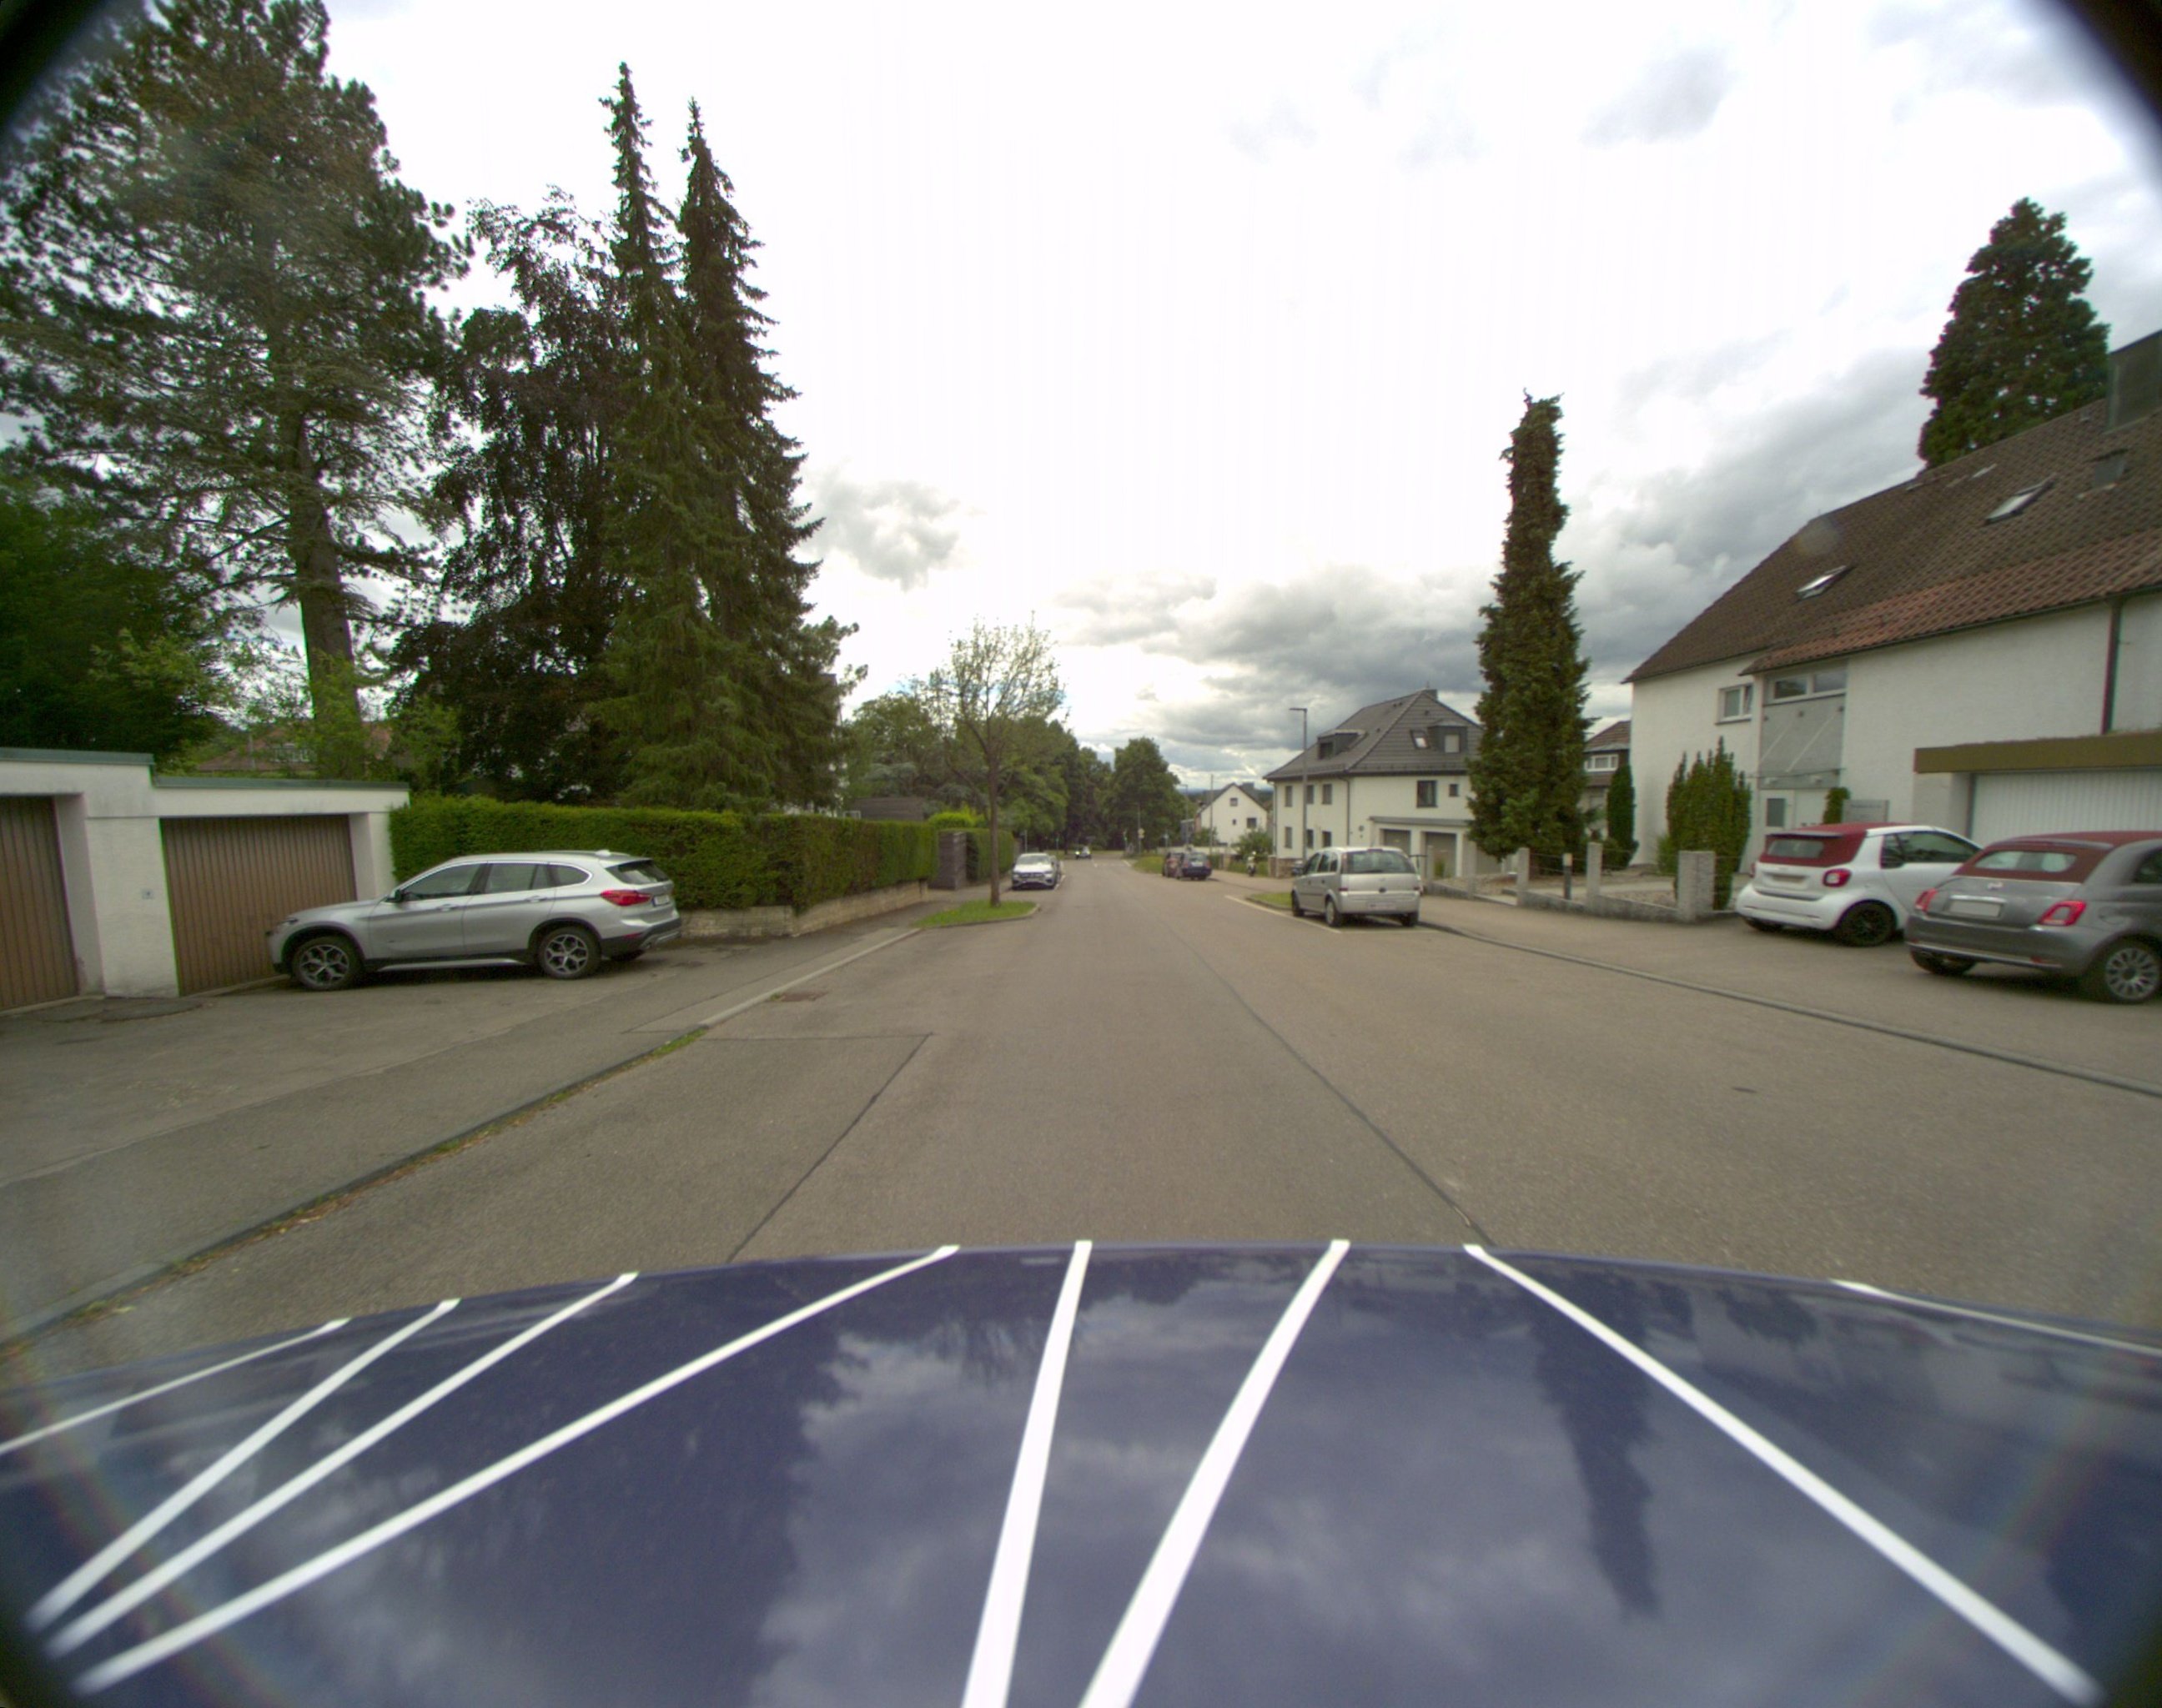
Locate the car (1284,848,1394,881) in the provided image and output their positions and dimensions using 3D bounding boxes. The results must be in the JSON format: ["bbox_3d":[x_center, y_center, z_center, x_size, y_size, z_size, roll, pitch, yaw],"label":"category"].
[{"bbox_3d":[11.685,0.453,34.550,4.298,1.360,1.903,-1,1,-4],"label":"car"}]

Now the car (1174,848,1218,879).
[{"bbox_3d":[6.087,0.477,40.675,1.882,1.528,3.507,-1,1,1],"label":"car"}]

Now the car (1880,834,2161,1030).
[{"bbox_3d":[10.306,0.633,7.280,3.437,1.504,1.692,-3,2,2],"label":"car"}]

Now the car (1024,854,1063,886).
[{"bbox_3d":[-1.894,0.793,39.893,1.860,1.456,4.171,-2,1,-1],"label":"car"}]

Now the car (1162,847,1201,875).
[{"bbox_3d":[6.024,0.386,45.963,1.882,1.576,3.871,-1,1,1],"label":"car"}]

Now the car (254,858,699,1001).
[{"bbox_3d":[-7.685,0.891,10.116,4.221,1.590,1.880,-1,1,-8],"label":"car"}]

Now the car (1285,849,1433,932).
[{"bbox_3d":[5.707,0.669,16.120,1.765,1.554,3.855,0,1,1],"label":"car"}]

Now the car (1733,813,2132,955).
[{"bbox_3d":[11.270,0.356,10.260,3.437,1.569,1.656,-3,2,2],"label":"car"}]

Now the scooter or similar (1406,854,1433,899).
[{"bbox_3d":[9.417,0.610,21.158,0.475,1.142,1.456,-3,1,17],"label":"scooter or similar"}]

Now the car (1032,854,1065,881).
[{"bbox_3d":[-1.911,0.768,45.682,1.860,1.456,3.999,-2,1,-1],"label":"car"}]

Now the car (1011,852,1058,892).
[{"bbox_3d":[-2.012,0.732,34.052,1.860,1.573,4.171,-2,1,-1],"label":"car"}]

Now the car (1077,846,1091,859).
[{"bbox_3d":[0.288,-0.177,87.302,1.568,1.504,3.396,-1,0,0],"label":"car"}]

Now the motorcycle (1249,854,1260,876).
[{"bbox_3d":[9.572,0.583,41.996,0.430,1.154,1.863,0,2,9],"label":"motorcycle"}]
